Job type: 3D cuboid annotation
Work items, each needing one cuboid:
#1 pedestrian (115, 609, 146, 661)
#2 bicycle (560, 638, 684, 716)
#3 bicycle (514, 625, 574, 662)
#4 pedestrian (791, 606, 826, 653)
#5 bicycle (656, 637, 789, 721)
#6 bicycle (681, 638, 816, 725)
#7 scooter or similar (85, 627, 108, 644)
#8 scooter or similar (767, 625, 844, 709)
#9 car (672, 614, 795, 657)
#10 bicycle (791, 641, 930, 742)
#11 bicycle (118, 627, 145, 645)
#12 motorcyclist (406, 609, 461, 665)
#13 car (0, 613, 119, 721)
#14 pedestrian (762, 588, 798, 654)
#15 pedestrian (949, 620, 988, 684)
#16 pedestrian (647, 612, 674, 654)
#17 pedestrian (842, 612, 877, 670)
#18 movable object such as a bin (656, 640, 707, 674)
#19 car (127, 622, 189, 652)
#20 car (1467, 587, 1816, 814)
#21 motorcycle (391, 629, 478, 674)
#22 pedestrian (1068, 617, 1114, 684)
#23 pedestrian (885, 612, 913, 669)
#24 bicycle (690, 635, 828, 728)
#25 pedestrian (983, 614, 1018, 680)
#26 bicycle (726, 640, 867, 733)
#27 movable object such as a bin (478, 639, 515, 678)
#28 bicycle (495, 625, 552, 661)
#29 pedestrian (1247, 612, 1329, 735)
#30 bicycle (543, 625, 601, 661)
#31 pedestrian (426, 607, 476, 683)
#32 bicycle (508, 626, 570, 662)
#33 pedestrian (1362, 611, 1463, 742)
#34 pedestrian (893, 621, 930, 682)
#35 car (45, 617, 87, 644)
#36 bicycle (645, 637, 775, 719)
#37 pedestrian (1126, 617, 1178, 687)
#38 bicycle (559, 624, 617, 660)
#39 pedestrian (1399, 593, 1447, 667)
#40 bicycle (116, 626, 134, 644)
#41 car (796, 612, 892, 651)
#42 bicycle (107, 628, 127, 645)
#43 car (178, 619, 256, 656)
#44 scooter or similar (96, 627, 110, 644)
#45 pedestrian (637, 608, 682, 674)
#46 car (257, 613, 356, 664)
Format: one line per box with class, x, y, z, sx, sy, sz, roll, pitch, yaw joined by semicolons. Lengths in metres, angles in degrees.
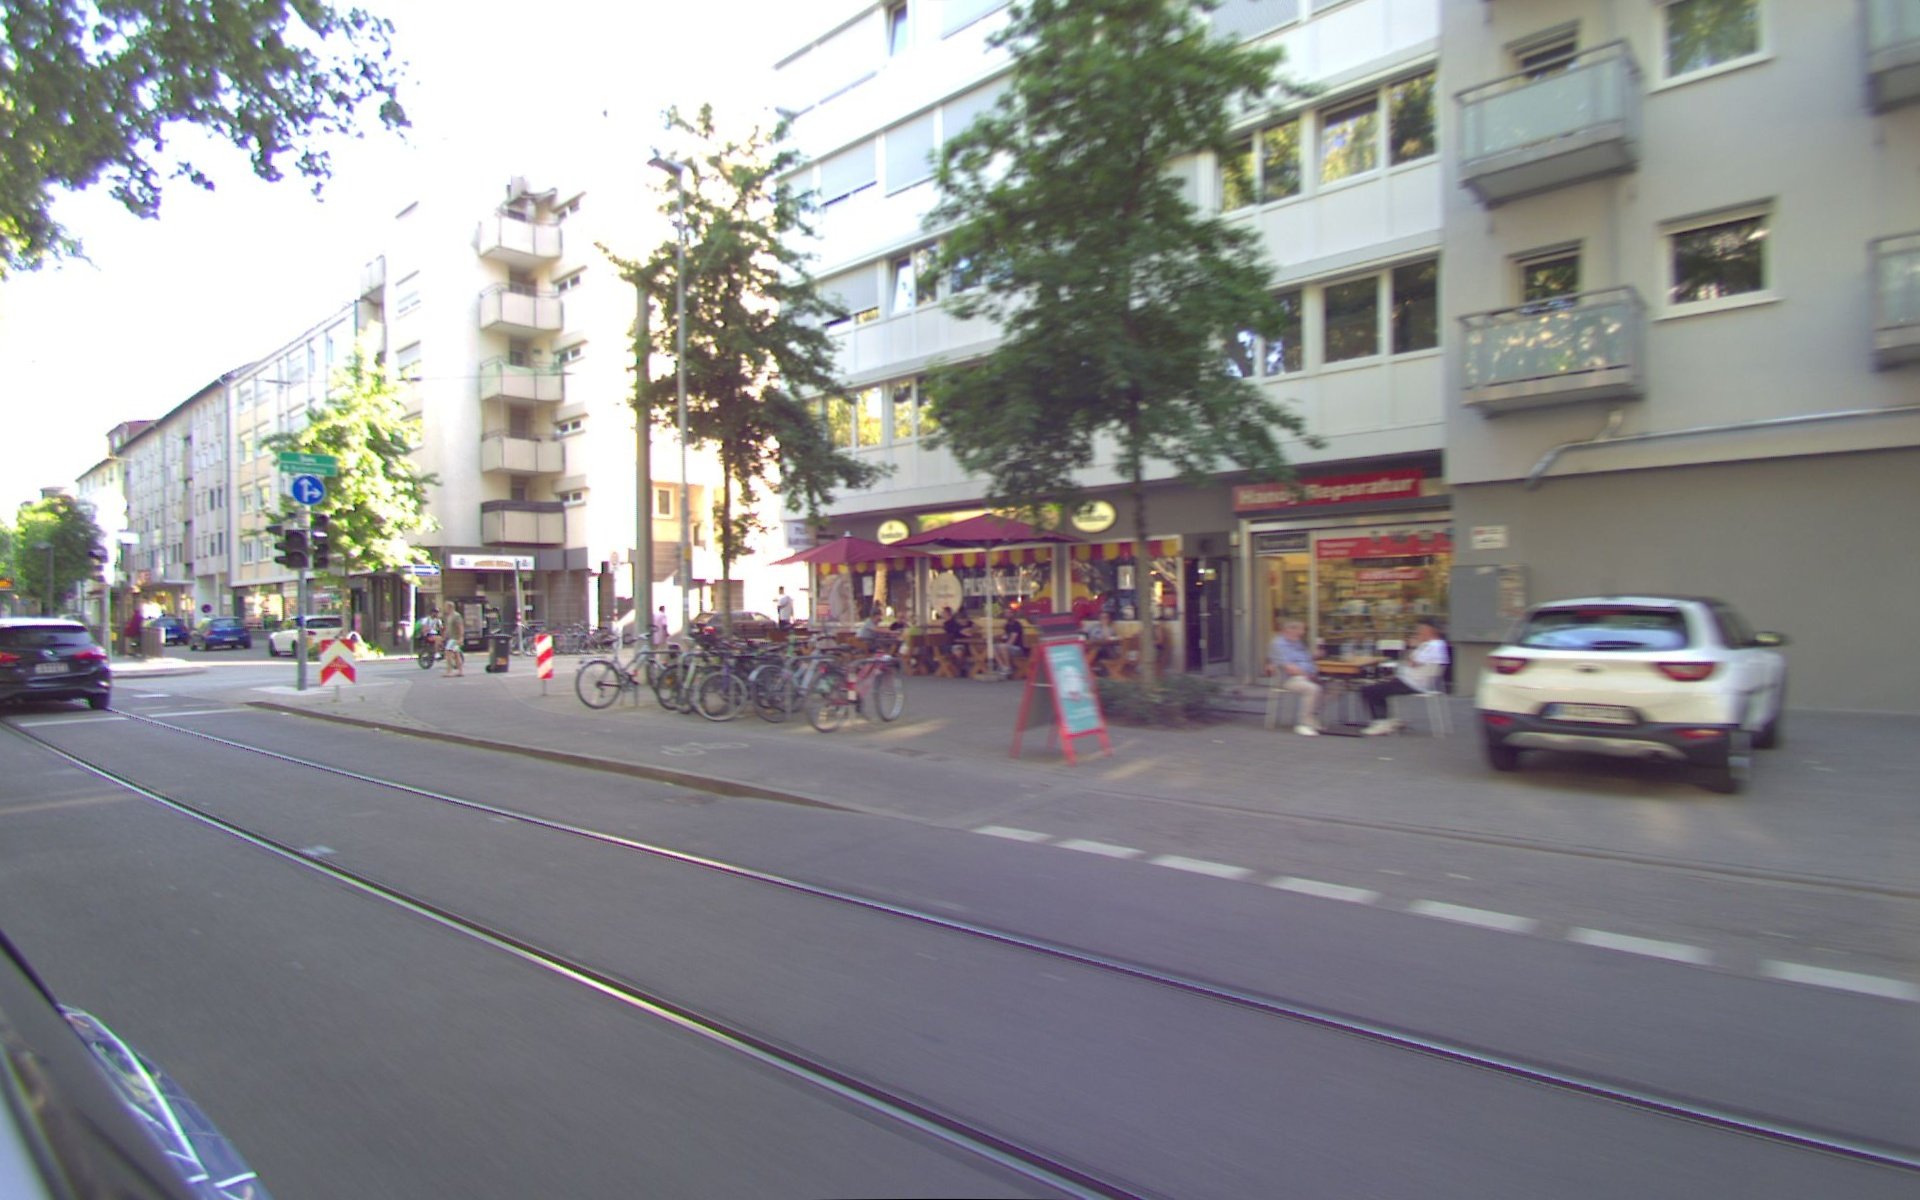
pedestrian;-25.883;1.077;31.584;0.772;1.597;0.647;-1;-1;42
bicycle;-5.020;1.123;15.133;0.657;1.015;1.675;-1;0;37
bicycle;-13.595;1.423;33.110;1.759;1.165;0.574;0;-1;-17
pedestrian;-4.138;0.797;27.701;0.760;1.251;0.748;-1;-1;8
bicycle;-3.293;1.069;14.181;0.657;1.015;1.812;-1;0;37
bicycle;-2.835;1.069;13.724;0.657;1.015;1.812;-1;0;37
scooter or similar;-59.352;2.437;69.585;1.259;1.183;0.445;-1;-1;6
scooter or similar;-2.323;0.993;15.299;0.498;1.185;1.068;-1;0;40
car;-8.519;1.297;38.354;1.895;1.515;4.234;-2;-1;42
bicycle;-1.135;1.036;11.897;0.657;1.015;1.675;-1;0;37
bicycle;-53.415;2.322;65.216;2.020;1.165;0.555;-1;-1;27
motorcyclist;-13.976;0.972;26.898;1.003;1.451;0.875;-1;-1;4
car;-15.882;1.090;17.005;4.141;1.602;1.853;-2;0;38
pedestrian;-4.640;0.533;26.120;0.740;1.672;0.767;-1;-1;7
pedestrian;0.176;1.002;19.637;0.684;1.207;0.601;-1;-1;7
pedestrian;-11.353;1.246;38.384;0.725;1.568;0.718;-2;-1;39
pedestrian;-2.146;0.873;21.648;0.560;1.207;0.509;-1;-1;26
movable object such as a bin;-6.975;1.418;25.385;0.661;0.763;1.189;-1;0;20
car;-41.163;1.879;51.917;4.281;1.475;1.775;-2;-2;42
car;6.081;0.663;8.830;1.852;1.486;3.968;-1;0;44
motorcycle;-13.924;1.360;26.862;1.890;1.173;0.851;-1;-1;4
pedestrian;2.439;0.928;18.837;0.624;1.207;0.556;-2;-2;41
pedestrian;-1.316;0.865;21.848;0.507;1.207;0.562;-1;-1;7
bicycle;-2.639;1.043;13.463;0.657;1.072;1.812;-1;0;37
pedestrian;0.760;0.874;18.994;0.558;1.207;0.511;-1;-1;13
bicycle;-2.046;1.060;12.896;0.657;1.015;1.812;-1;0;37
movable object such as a bin;-11.244;1.413;24.549;0.646;0.939;0.536;-1;-1;25
bicycle;-14.877;1.457;34.523;0.568;1.165;2.024;-1;-1;19
pedestrian;3.648;0.792;11.237;0.744;1.307;0.707;-1;-1;28
bicycle;-12.955;1.419;33.822;1.759;1.165;0.574;0;-1;-17
pedestrian;-11.514;1.003;22.915;0.767;1.684;0.750;-2;-2;36
bicycle;-14.105;1.453;33.935;1.837;1.165;0.572;0;-2;-44
pedestrian;4.745;0.774;10.606;0.907;1.307;0.707;-1;-1;28
pedestrian;-0.980;1.027;20.414;0.564;1.207;0.506;-2;-2;44
car;-65.948;2.222;74.673;4.047;1.949;1.785;-2;-2;41
bicycle;-3.560;1.084;14.545;0.657;1.015;1.812;-1;0;37
pedestrian;3.423;0.916;18.007;0.655;1.207;0.665;-2;-2;41
bicycle;-12.732;1.421;34.644;1.760;1.165;0.573;0;-2;-37
pedestrian;7.782;0.503;17.021;0.505;1.207;0.564;1;-2;-43
bicycle;-55.014;2.321;66.660;1.748;1.165;0.488;-1;-2;37
car;-4.802;1.292;42.149;1.804;1.515;3.729;-2;-1;42
bicycle;-56.534;2.448;67.848;2.034;1.165;0.565;-1;-2;37
car;-32.716;1.625;44.528;4.388;1.556;1.935;-2;-2;42
scooter or similar;-58.285;2.410;68.803;1.273;1.183;0.440;-1;-2;37
pedestrian;-7.240;0.976;24.373;0.767;1.568;0.718;-2;-2;36
car;-23.634;1.367;36.536;4.356;1.663;1.858;-2;1;41
